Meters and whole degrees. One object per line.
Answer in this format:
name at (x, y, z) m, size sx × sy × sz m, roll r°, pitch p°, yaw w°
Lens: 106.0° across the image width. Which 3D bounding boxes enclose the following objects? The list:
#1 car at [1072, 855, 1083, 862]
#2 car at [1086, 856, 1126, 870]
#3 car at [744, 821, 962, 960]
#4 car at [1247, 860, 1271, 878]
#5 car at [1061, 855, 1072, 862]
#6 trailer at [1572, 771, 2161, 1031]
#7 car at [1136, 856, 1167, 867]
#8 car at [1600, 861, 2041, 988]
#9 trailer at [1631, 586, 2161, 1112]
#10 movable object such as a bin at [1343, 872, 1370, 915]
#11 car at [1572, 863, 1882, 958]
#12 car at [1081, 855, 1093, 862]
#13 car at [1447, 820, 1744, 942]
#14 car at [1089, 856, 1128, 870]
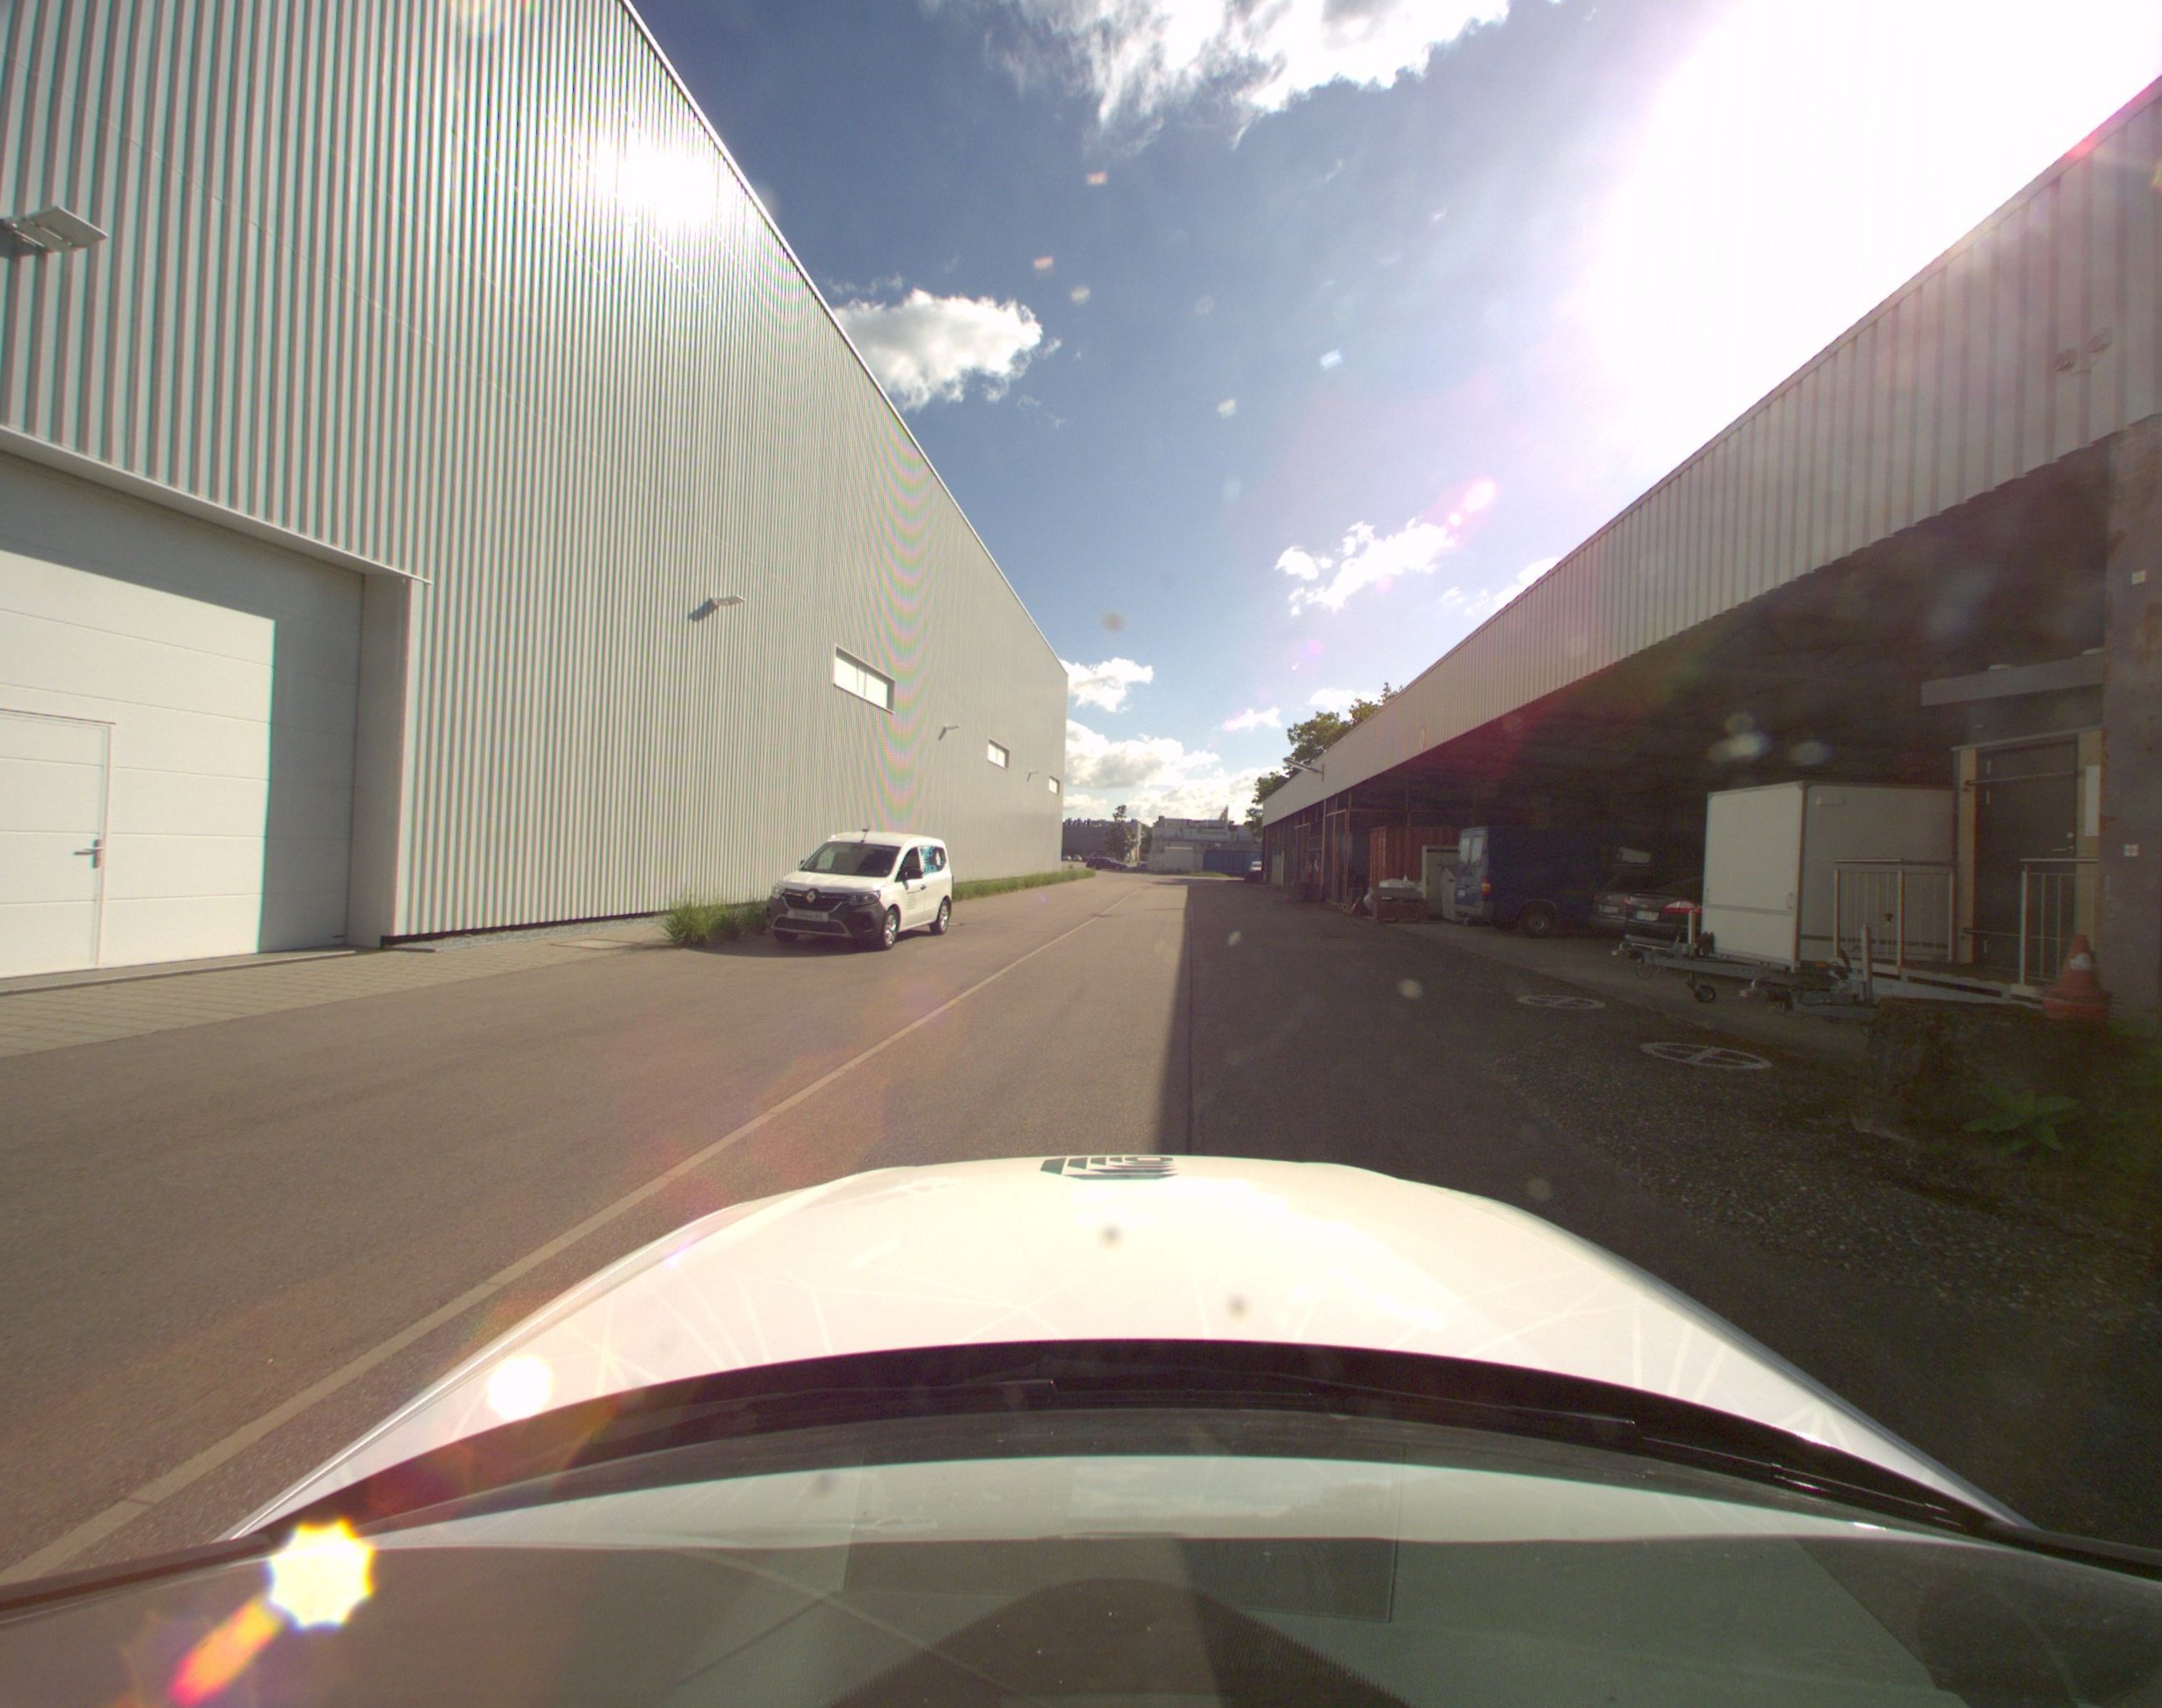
car at (-0.858, 1.078, 194.316) m, size 2.182 × 1.736 × 4.007 m, roll 0°, pitch -1°, yaw 7°
car at (2.947, 1.042, 95.859) m, size 4.499 × 1.508 × 1.913 m, roll 1°, pitch 0°, yaw 9°
car at (-3.557, 0.518, 13.713) m, size 1.880 × 1.845 × 4.367 m, roll 4°, pitch 0°, yaw 7°
car at (17.722, 1.473, 81.236) m, size 1.983 × 1.585 × 4.181 m, roll 1°, pitch 1°, yaw 7°
car at (-3.458, 1.105, 194.276) m, size 1.983 × 1.736 × 4.007 m, roll 0°, pitch -1°, yaw 7°
trailer at (8.279, 0.410, 8.780) m, size 4.780 × 2.391 × 1.833 m, roll 1°, pitch 0°, yaw 12°
car at (10.651, 1.086, 122.795) m, size 4.500 × 1.508 × 1.913 m, roll 1°, pitch 0°, yaw 8°
car at (9.880, 0.882, 11.190) m, size 4.308 × 1.496 × 1.779 m, roll 1°, pitch 0°, yaw 5°
trailer at (10.181, 0.024, 5.994) m, size 9.984 × 3.216 × 2.859 m, roll 1°, pitch 0°, yaw 7°
movable object such as a bin at (7.900, 1.107, 23.363) m, size 0.578 × 1.164 × 1.242 m, roll 1°, pitch 0°, yaw 11°
car at (11.094, 0.926, 14.215) m, size 3.971 × 1.472 × 1.789 m, roll 1°, pitch 0°, yaw 2°
car at (1.445, 1.025, 192.319) m, size 2.182 × 1.736 × 4.007 m, roll 0°, pitch -1°, yaw 7°
car at (10.696, 0.526, 17.308) m, size 4.951 × 2.325 × 2.004 m, roll 1°, pitch 0°, yaw 7°
car at (3.337, 1.084, 99.079) m, size 4.499 × 1.508 × 1.913 m, roll 1°, pitch 0°, yaw 9°
